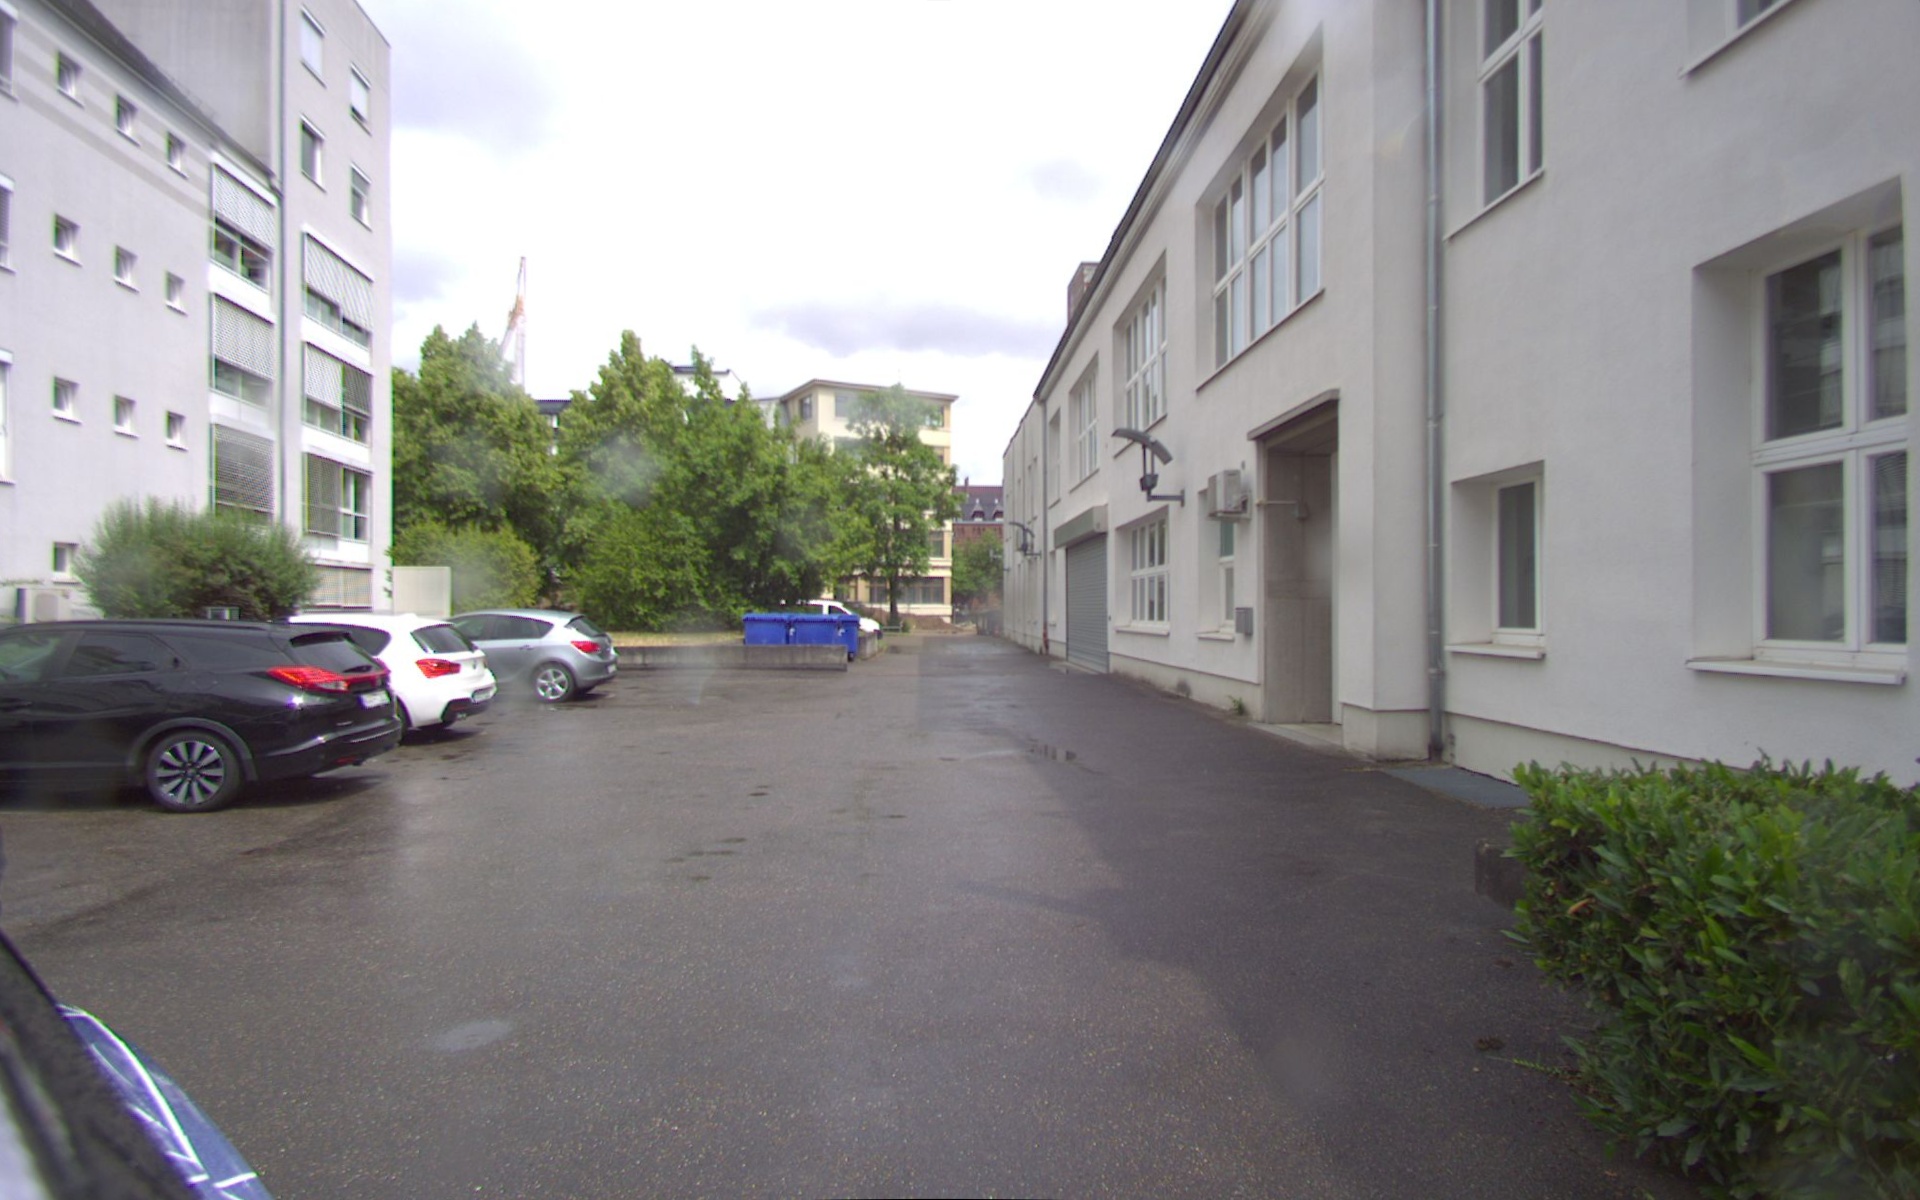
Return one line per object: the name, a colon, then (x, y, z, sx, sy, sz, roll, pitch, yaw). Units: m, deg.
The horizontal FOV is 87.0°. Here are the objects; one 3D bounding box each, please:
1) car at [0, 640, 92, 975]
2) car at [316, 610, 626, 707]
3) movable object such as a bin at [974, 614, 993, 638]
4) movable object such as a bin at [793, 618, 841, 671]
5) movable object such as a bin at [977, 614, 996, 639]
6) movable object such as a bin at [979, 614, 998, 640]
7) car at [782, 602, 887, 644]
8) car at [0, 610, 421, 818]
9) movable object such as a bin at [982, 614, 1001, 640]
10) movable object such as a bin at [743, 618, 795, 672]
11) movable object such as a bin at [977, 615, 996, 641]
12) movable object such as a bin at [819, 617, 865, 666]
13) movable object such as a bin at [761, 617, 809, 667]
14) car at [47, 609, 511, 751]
car: (-6.113, 0.832, 3.519, 4.458, 1.362, 1.766, 1, 0, -7)
car: (-7.852, 0.932, 16.631, 4.247, 1.453, 1.766, 1, 0, -8)
movable object such as a bin: (1.371, 1.502, 59.142, 1.052, 1.366, 1.264, -1, 0, 1)
movable object such as a bin: (-3.746, 1.163, 26.691, 1.080, 1.335, 1.208, -1, 0, 1)
movable object such as a bin: (1.520, 1.499, 57.765, 1.052, 1.366, 1.264, -1, 0, 1)
movable object such as a bin: (1.574, 1.497, 56.185, 1.049, 1.366, 1.218, -1, 0, 1)
car: (-5.393, 0.979, 43.772, 4.277, 1.740, 1.721, -1, 0, 3)
car: (-6.930, 0.832, 8.126, 4.247, 1.453, 1.766, 1, 0, -8)
movable object such as a bin: (1.661, 1.410, 53.093, 0.965, 1.366, 0.919, -1, 0, 1)
movable object such as a bin: (-5.026, 1.170, 26.682, 1.116, 1.338, 1.208, -1, 0, 1)
movable object such as a bin: (1.439, 1.497, 54.841, 1.032, 1.366, 1.207, -1, 0, 1)
movable object such as a bin: (-3.313, 1.156, 28.493, 1.116, 1.338, 1.208, -1, 0, 1)
movable object such as a bin: (-4.891, 1.171, 28.367, 1.116, 1.338, 1.208, -1, 0, 1)
car: (-7.519, 0.868, 11.547, 4.061, 1.453, 1.699, 1, 0, -7)
